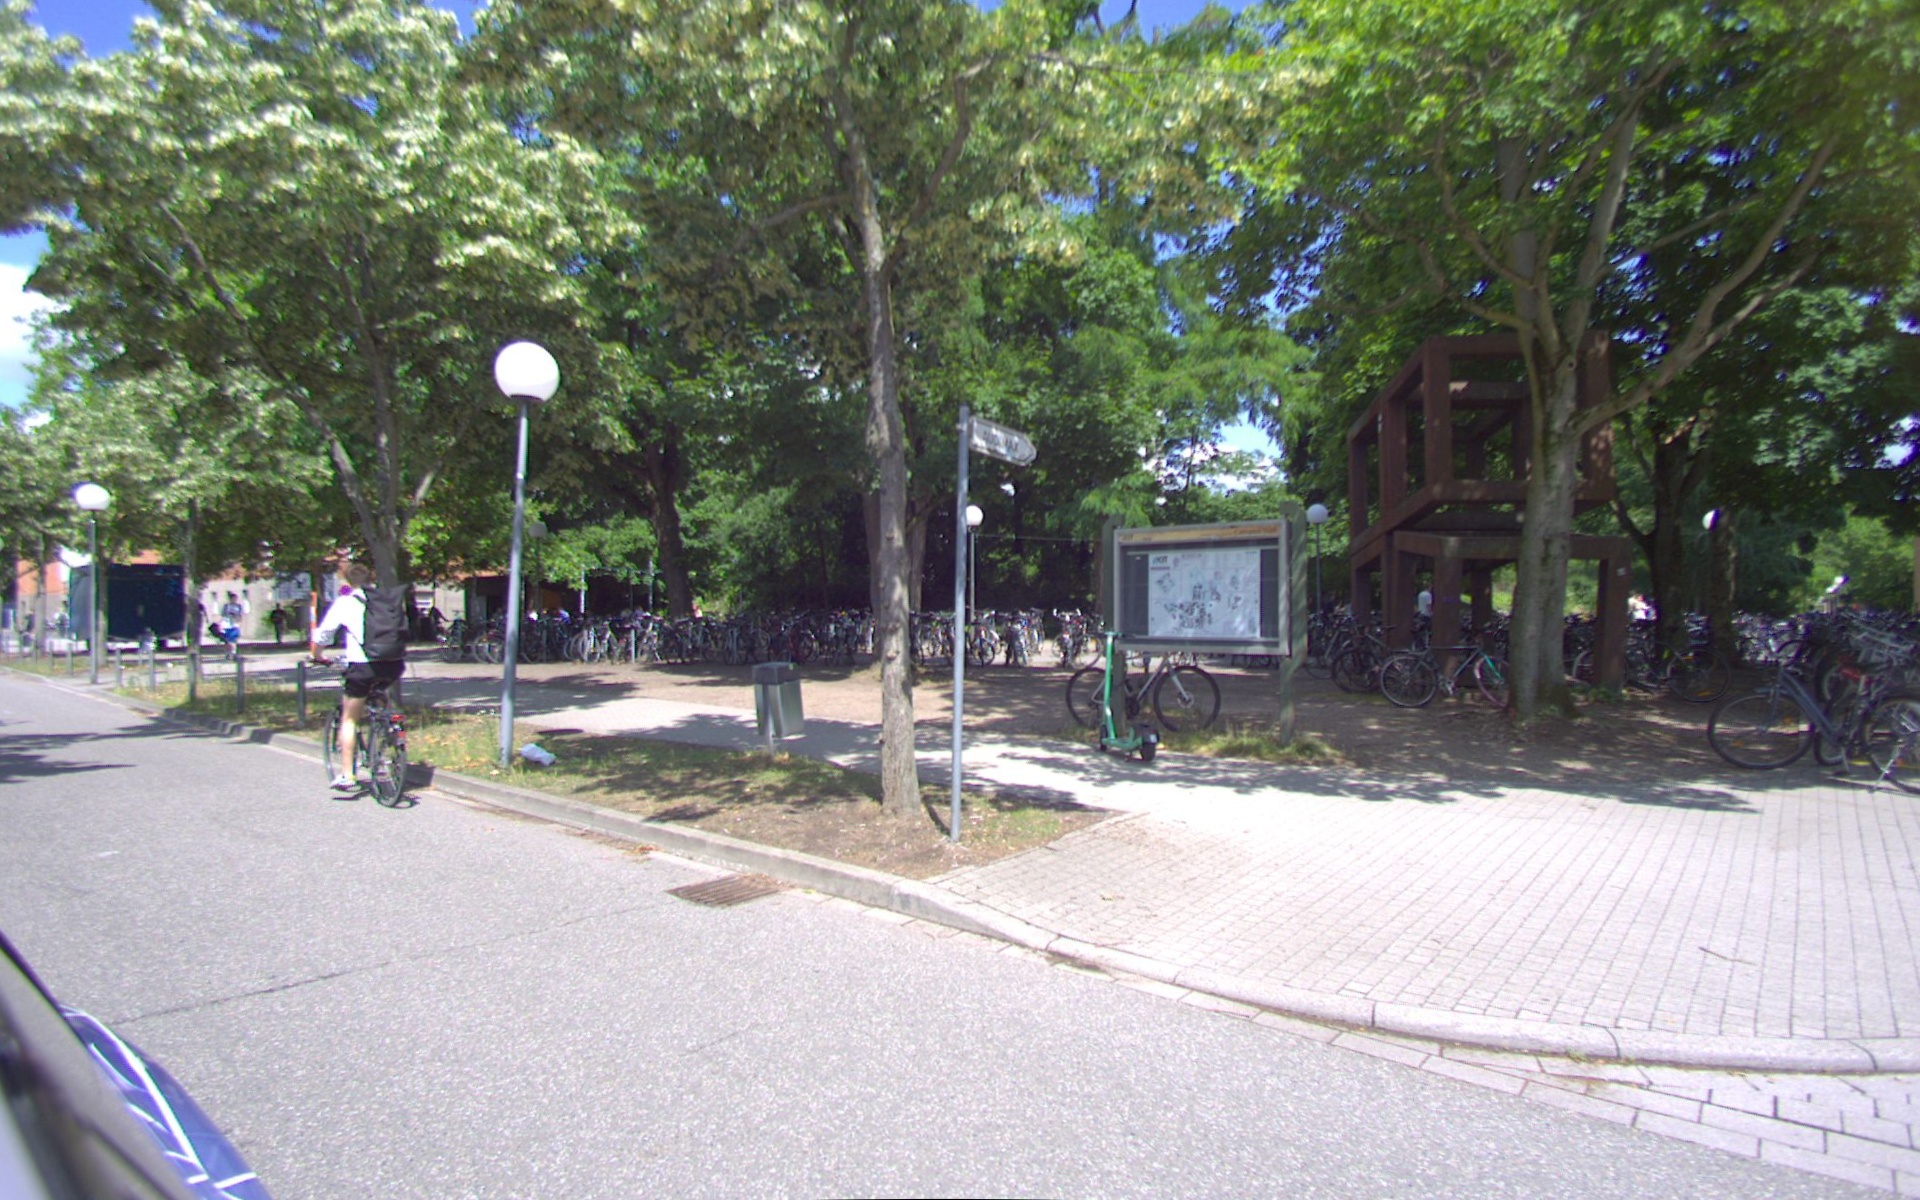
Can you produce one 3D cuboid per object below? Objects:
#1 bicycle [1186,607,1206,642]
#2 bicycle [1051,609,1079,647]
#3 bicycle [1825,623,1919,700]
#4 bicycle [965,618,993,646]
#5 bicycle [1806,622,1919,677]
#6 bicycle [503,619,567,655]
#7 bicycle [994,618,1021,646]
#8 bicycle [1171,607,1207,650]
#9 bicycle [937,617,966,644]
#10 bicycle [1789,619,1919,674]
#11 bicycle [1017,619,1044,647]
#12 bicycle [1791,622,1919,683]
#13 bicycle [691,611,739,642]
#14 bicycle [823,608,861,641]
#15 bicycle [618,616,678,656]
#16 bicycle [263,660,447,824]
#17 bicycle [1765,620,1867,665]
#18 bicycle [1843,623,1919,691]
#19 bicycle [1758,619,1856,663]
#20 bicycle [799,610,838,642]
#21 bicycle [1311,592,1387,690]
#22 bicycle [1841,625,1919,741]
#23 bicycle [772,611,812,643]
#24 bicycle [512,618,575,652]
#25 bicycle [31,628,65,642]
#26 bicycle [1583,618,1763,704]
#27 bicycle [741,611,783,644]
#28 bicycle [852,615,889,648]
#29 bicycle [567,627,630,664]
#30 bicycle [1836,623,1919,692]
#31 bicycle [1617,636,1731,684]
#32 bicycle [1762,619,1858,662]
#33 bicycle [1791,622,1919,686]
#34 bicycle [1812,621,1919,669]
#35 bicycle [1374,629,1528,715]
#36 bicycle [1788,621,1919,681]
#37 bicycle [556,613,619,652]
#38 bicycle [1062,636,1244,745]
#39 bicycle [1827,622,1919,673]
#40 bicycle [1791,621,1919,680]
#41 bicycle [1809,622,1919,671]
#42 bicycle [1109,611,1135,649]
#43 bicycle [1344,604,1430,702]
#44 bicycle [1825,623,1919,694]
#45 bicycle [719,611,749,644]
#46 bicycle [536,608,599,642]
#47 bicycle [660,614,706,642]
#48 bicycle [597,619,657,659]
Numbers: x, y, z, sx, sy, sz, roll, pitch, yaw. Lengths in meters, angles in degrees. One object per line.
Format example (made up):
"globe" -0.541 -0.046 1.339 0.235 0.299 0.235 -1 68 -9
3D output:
"bicycle" 7.587 0.773 32.508 0.501 1.043 2.050 -1 0 17
"bicycle" 3.532 0.921 33.994 0.421 1.216 1.783 -1 0 23
"bicycle" 14.119 0.900 14.982 1.972 1.094 0.546 -1 0 41
"bicycle" 0.665 1.078 34.849 0.416 0.900 1.755 -1 0 20
"bicycle" 18.909 1.010 21.060 1.972 1.094 0.546 -1 0 41
"bicycle" -13.187 1.136 31.443 0.537 1.022 1.783 -1 -1 42
"bicycle" 1.645 1.086 34.643 0.416 0.900 1.755 -1 0 20
"bicycle" 6.303 0.762 27.940 0.726 1.117 2.300 -1 0 7
"bicycle" -0.288 1.047 35.030 0.416 0.900 1.755 -1 0 20
"bicycle" 18.325 0.937 20.679 2.127 1.076 0.492 -1 -1 40
"bicycle" 2.407 1.104 34.380 0.416 0.900 1.755 -1 0 20
"bicycle" 16.886 0.963 19.003 1.972 1.094 0.546 -1 0 41
"bicycle" -8.943 0.953 37.020 0.594 1.099 1.940 0 0 27
"bicycle" -4.141 0.859 35.678 0.592 1.099 1.947 0 0 18
"bicycle" -9.121 1.051 29.670 0.544 1.097 1.952 -1 0 23
"bicycle" -4.991 1.093 8.306 1.886 1.138 0.678 -1 -2 39
"bicycle" 21.877 1.066 25.904 1.972 1.094 0.611 -1 1 41
"bicycle" 16.100 0.946 16.936 1.972 1.094 0.546 -1 0 41
"bicycle" 22.457 1.073 26.867 1.972 1.094 0.611 -1 1 41
"bicycle" -5.040 0.907 36.057 0.592 1.099 1.947 0 0 18
"bicycle" 6.219 0.623 16.303 0.600 1.461 2.285 -1 -1 7
"bicycle" 9.769 0.801 9.696 1.972 1.094 0.546 -1 0 41
"bicycle" -5.975 0.956 36.171 0.592 1.099 1.947 0 0 18
"bicycle" -13.269 1.109 32.285 0.537 1.022 1.783 -1 -1 43
"bicycle" -73.110 2.789 81.147 0.541 1.038 1.931 -1 -1 39
"bicycle" 9.160 0.754 13.055 1.849 1.040 0.470 -1 -1 41
"bicycle" -7.074 0.966 36.224 0.592 1.099 1.947 0 0 18
"bicycle" -3.107 1.088 35.494 0.592 1.099 1.947 0 0 18
"bicycle" -11.006 1.360 30.885 0.535 1.035 1.947 -1 0 30
"bicycle" 15.605 0.934 16.508 1.972 1.094 0.546 -1 0 41
"bicycle" 11.758 0.983 16.682 1.542 0.768 0.322 -1 0 8
"bicycle" 23.027 1.084 27.450 1.972 1.094 0.611 -1 1 41
"bicycle" 16.359 0.951 18.349 1.972 1.094 0.546 -1 0 41
"bicycle" 21.959 1.079 24.537 1.972 1.094 0.546 -1 0 41
"bicycle" 5.943 0.847 12.292 1.650 0.972 0.472 -1 -1 30
"bicycle" 17.255 0.965 19.514 1.972 1.094 0.546 -1 0 41
"bicycle" -11.428 0.977 31.103 0.535 1.134 1.947 -1 0 30
"bicycle" 1.961 0.895 10.397 1.807 1.033 0.379 -1 -1 29
"bicycle" 20.785 1.053 22.726 1.972 1.094 0.546 -1 0 41
"bicycle" 17.735 0.983 20.021 1.972 1.094 0.546 -1 0 41
"bicycle" 20.953 1.056 23.417 1.972 1.094 0.546 -1 0 41
"bicycle" 5.345 0.971 33.357 0.421 1.216 1.783 -1 0 23
"bicycle" 5.928 0.718 14.165 0.580 1.263 2.016 -1 -2 8
"bicycle" 15.077 0.922 16.099 1.972 1.094 0.546 -1 0 41
"bicycle" -7.949 0.954 35.673 0.589 1.099 1.957 0 0 1
"bicycle" -12.256 0.760 31.665 0.535 1.011 1.947 -1 0 30
"bicycle" -10.178 1.021 37.238 0.544 0.949 1.867 0 0 27
"bicycle" -9.832 1.137 29.929 0.534 1.097 1.952 -1 0 23
